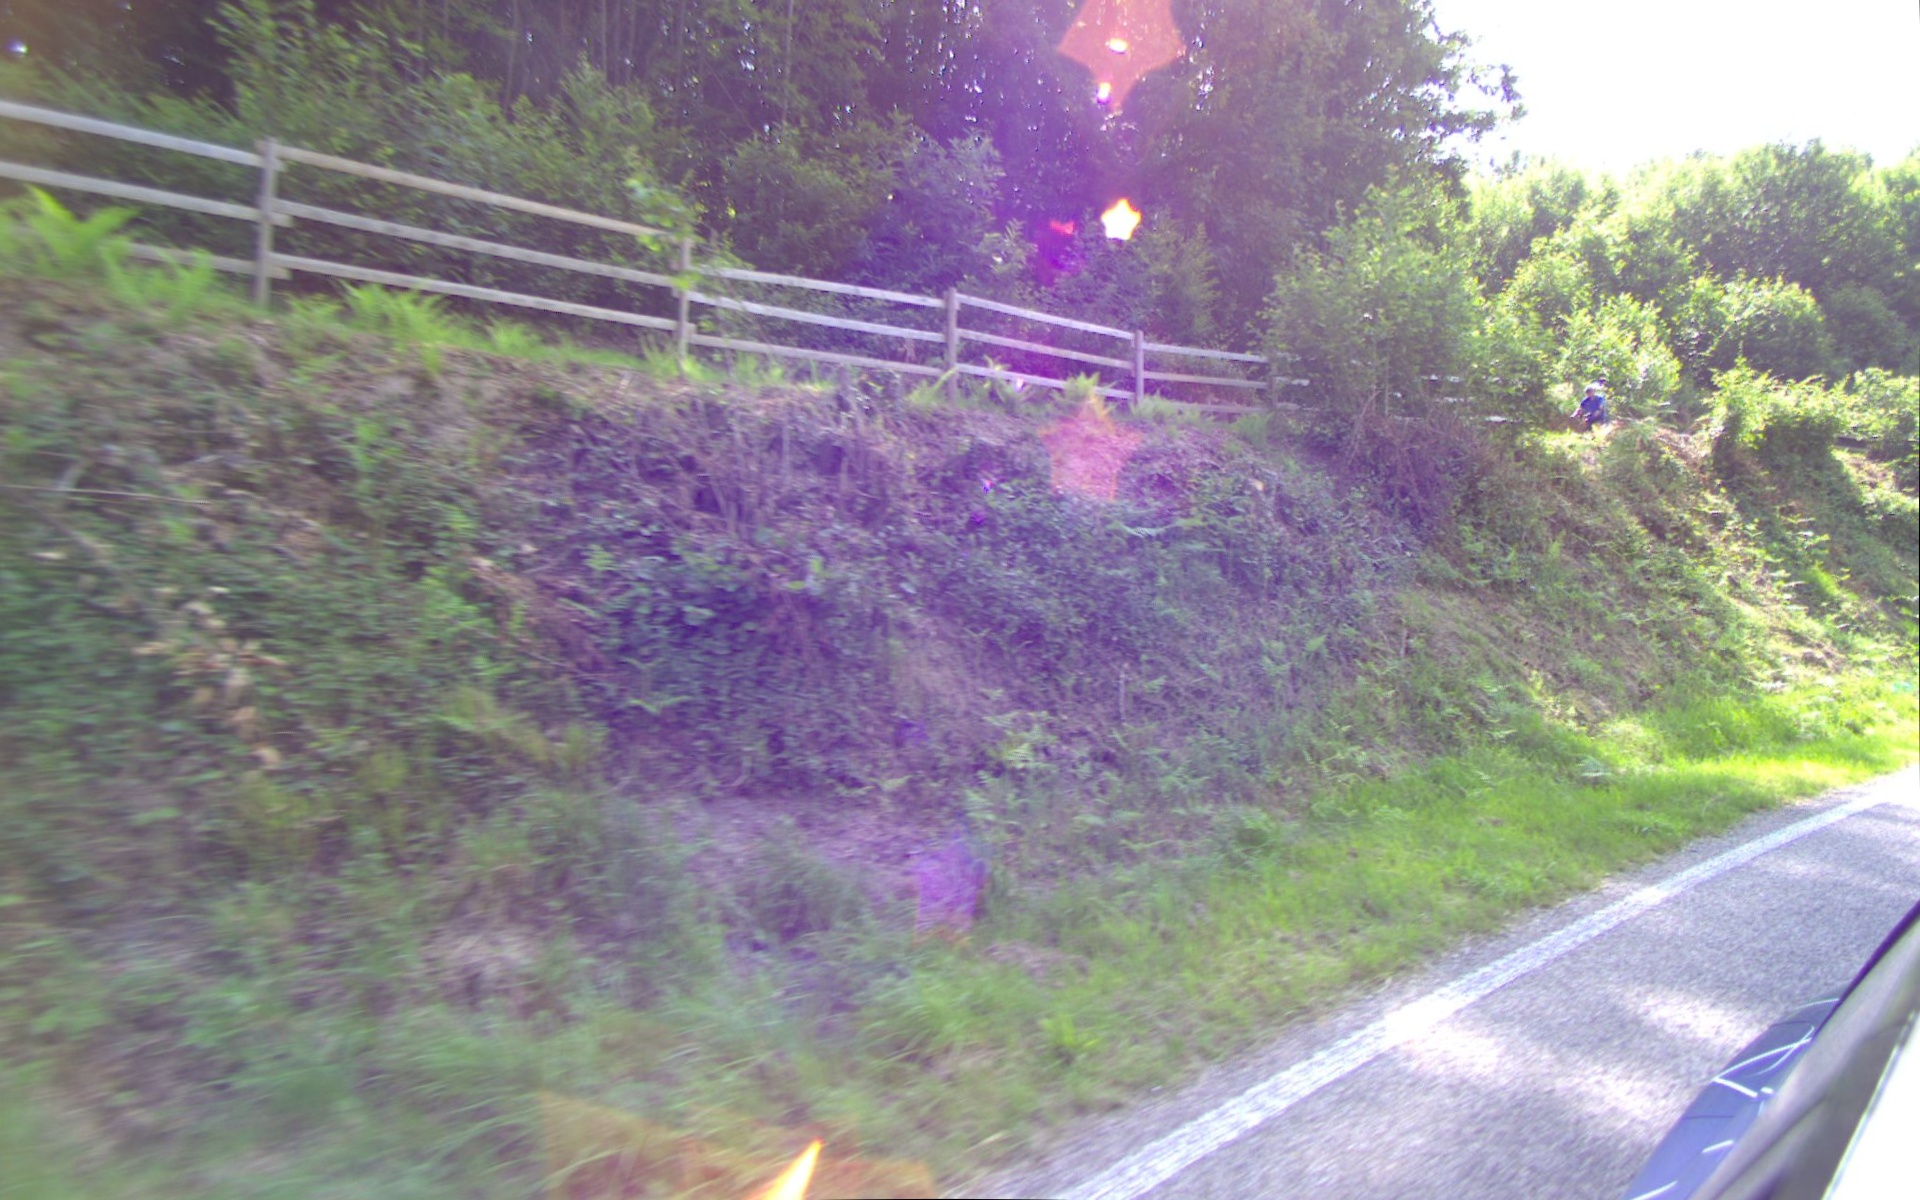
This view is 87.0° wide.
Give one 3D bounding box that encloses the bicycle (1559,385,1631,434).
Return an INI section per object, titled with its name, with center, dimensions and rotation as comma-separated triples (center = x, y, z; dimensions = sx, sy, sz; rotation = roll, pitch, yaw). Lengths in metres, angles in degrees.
[bicycle]
center = 15.065, -4.510, 24.018
dimensions = 1.563, 0.927, 0.626
rotation = 0, -3, -23

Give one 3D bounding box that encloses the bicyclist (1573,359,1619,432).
[bicyclist]
center = 15.100, -4.850, 24.042
dimensions = 0.600, 1.544, 0.626
rotation = 1, -3, -23
